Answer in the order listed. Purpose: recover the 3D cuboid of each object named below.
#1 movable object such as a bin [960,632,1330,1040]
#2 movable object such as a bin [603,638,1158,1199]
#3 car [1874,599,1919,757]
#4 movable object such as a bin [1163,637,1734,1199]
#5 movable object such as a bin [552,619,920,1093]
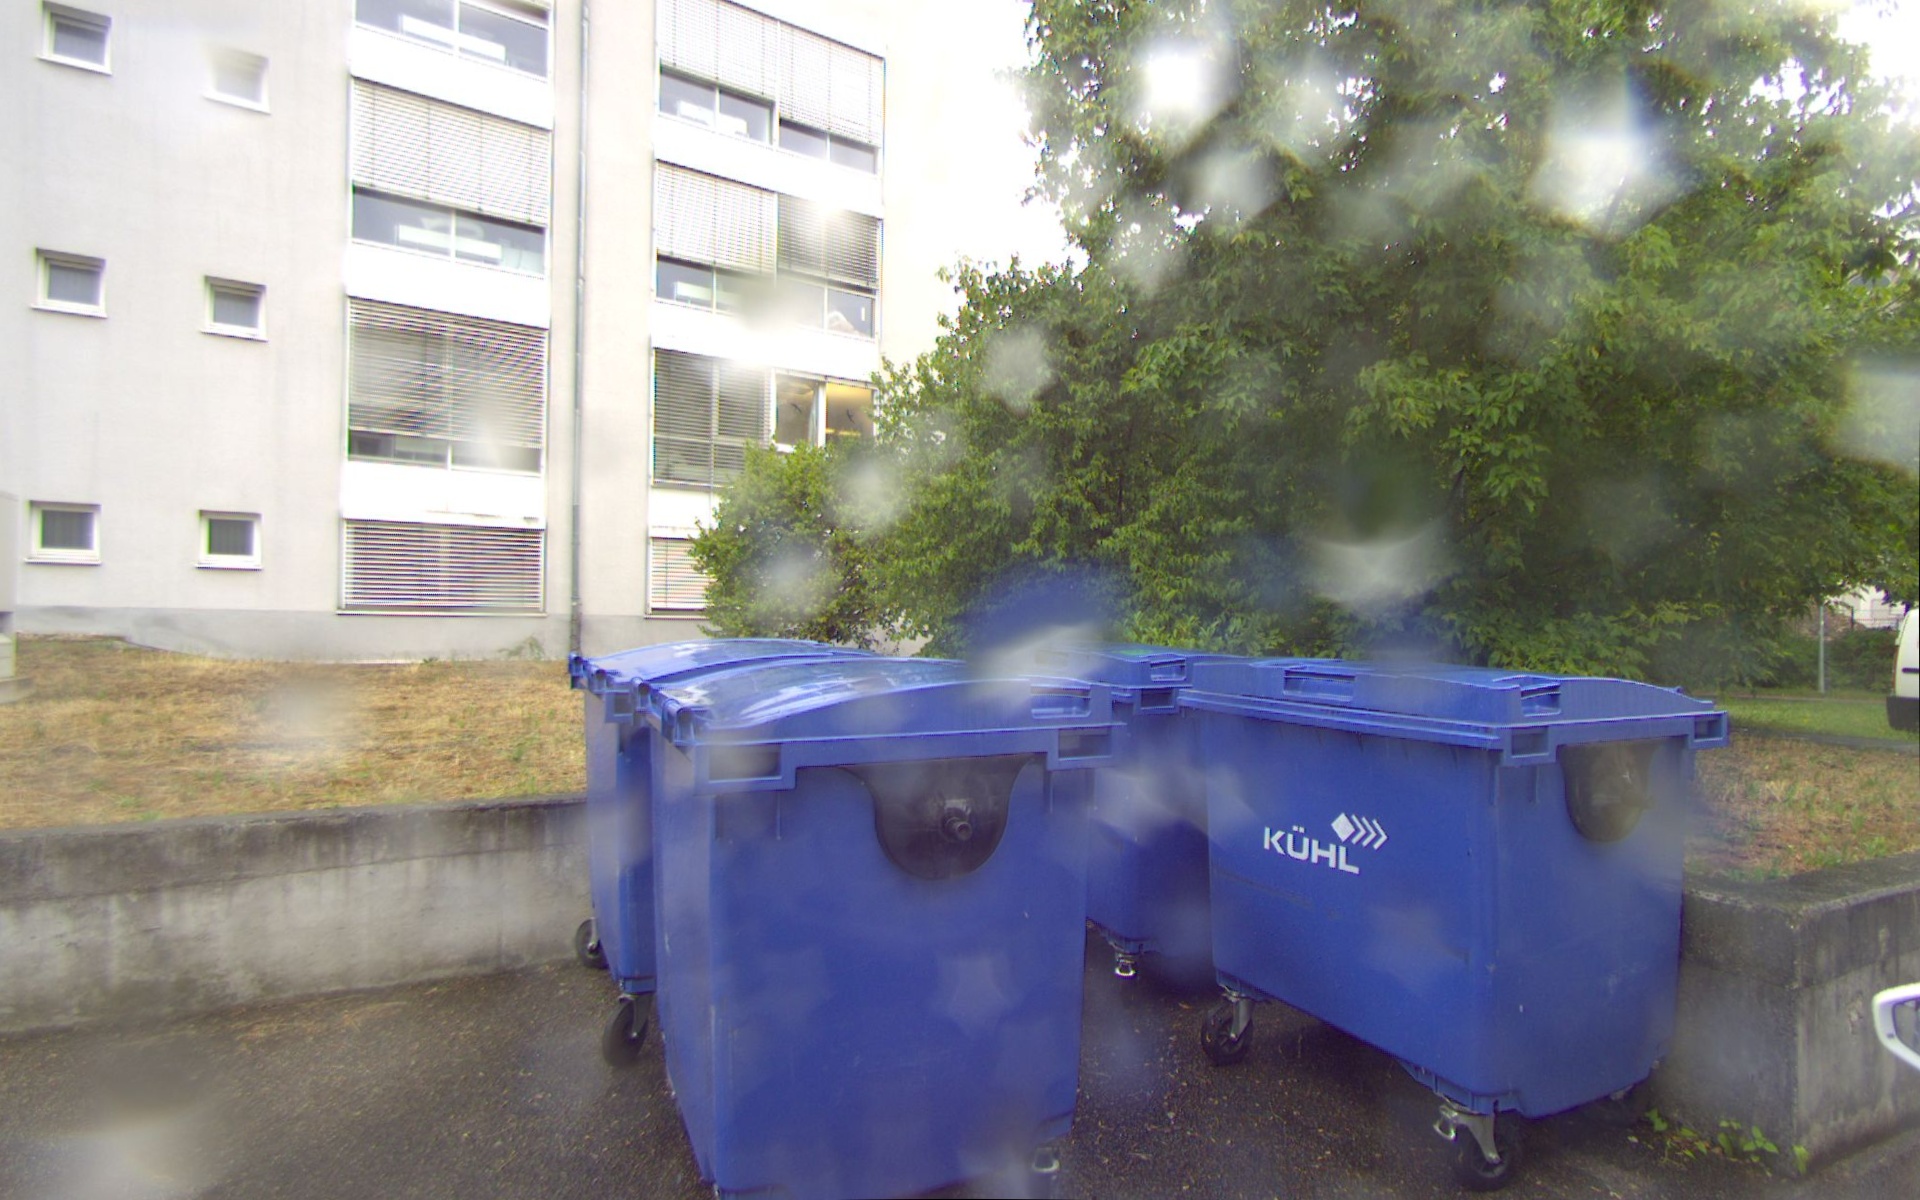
[{"bbox_3d":[0.708,0.825,4.182,0.993,1.355,1.217,0,-1,-26],"label":"movable object such as a bin"},{"bbox_3d":[-0.296,0.794,2.592,1.100,1.355,1.200,2,-1,-22],"label":"movable object such as a bin"},{"bbox_3d":[14.105,0.964,11.677,1.973,2.040,4.766,1,-2,-25],"label":"car"},{"bbox_3d":[1.389,0.803,3.046,0.993,1.355,1.217,1,-1,-26],"label":"movable object such as a bin"},{"bbox_3d":[-0.891,0.778,3.769,1.102,1.355,1.198,-1,1,-26],"label":"movable object such as a bin"}]
